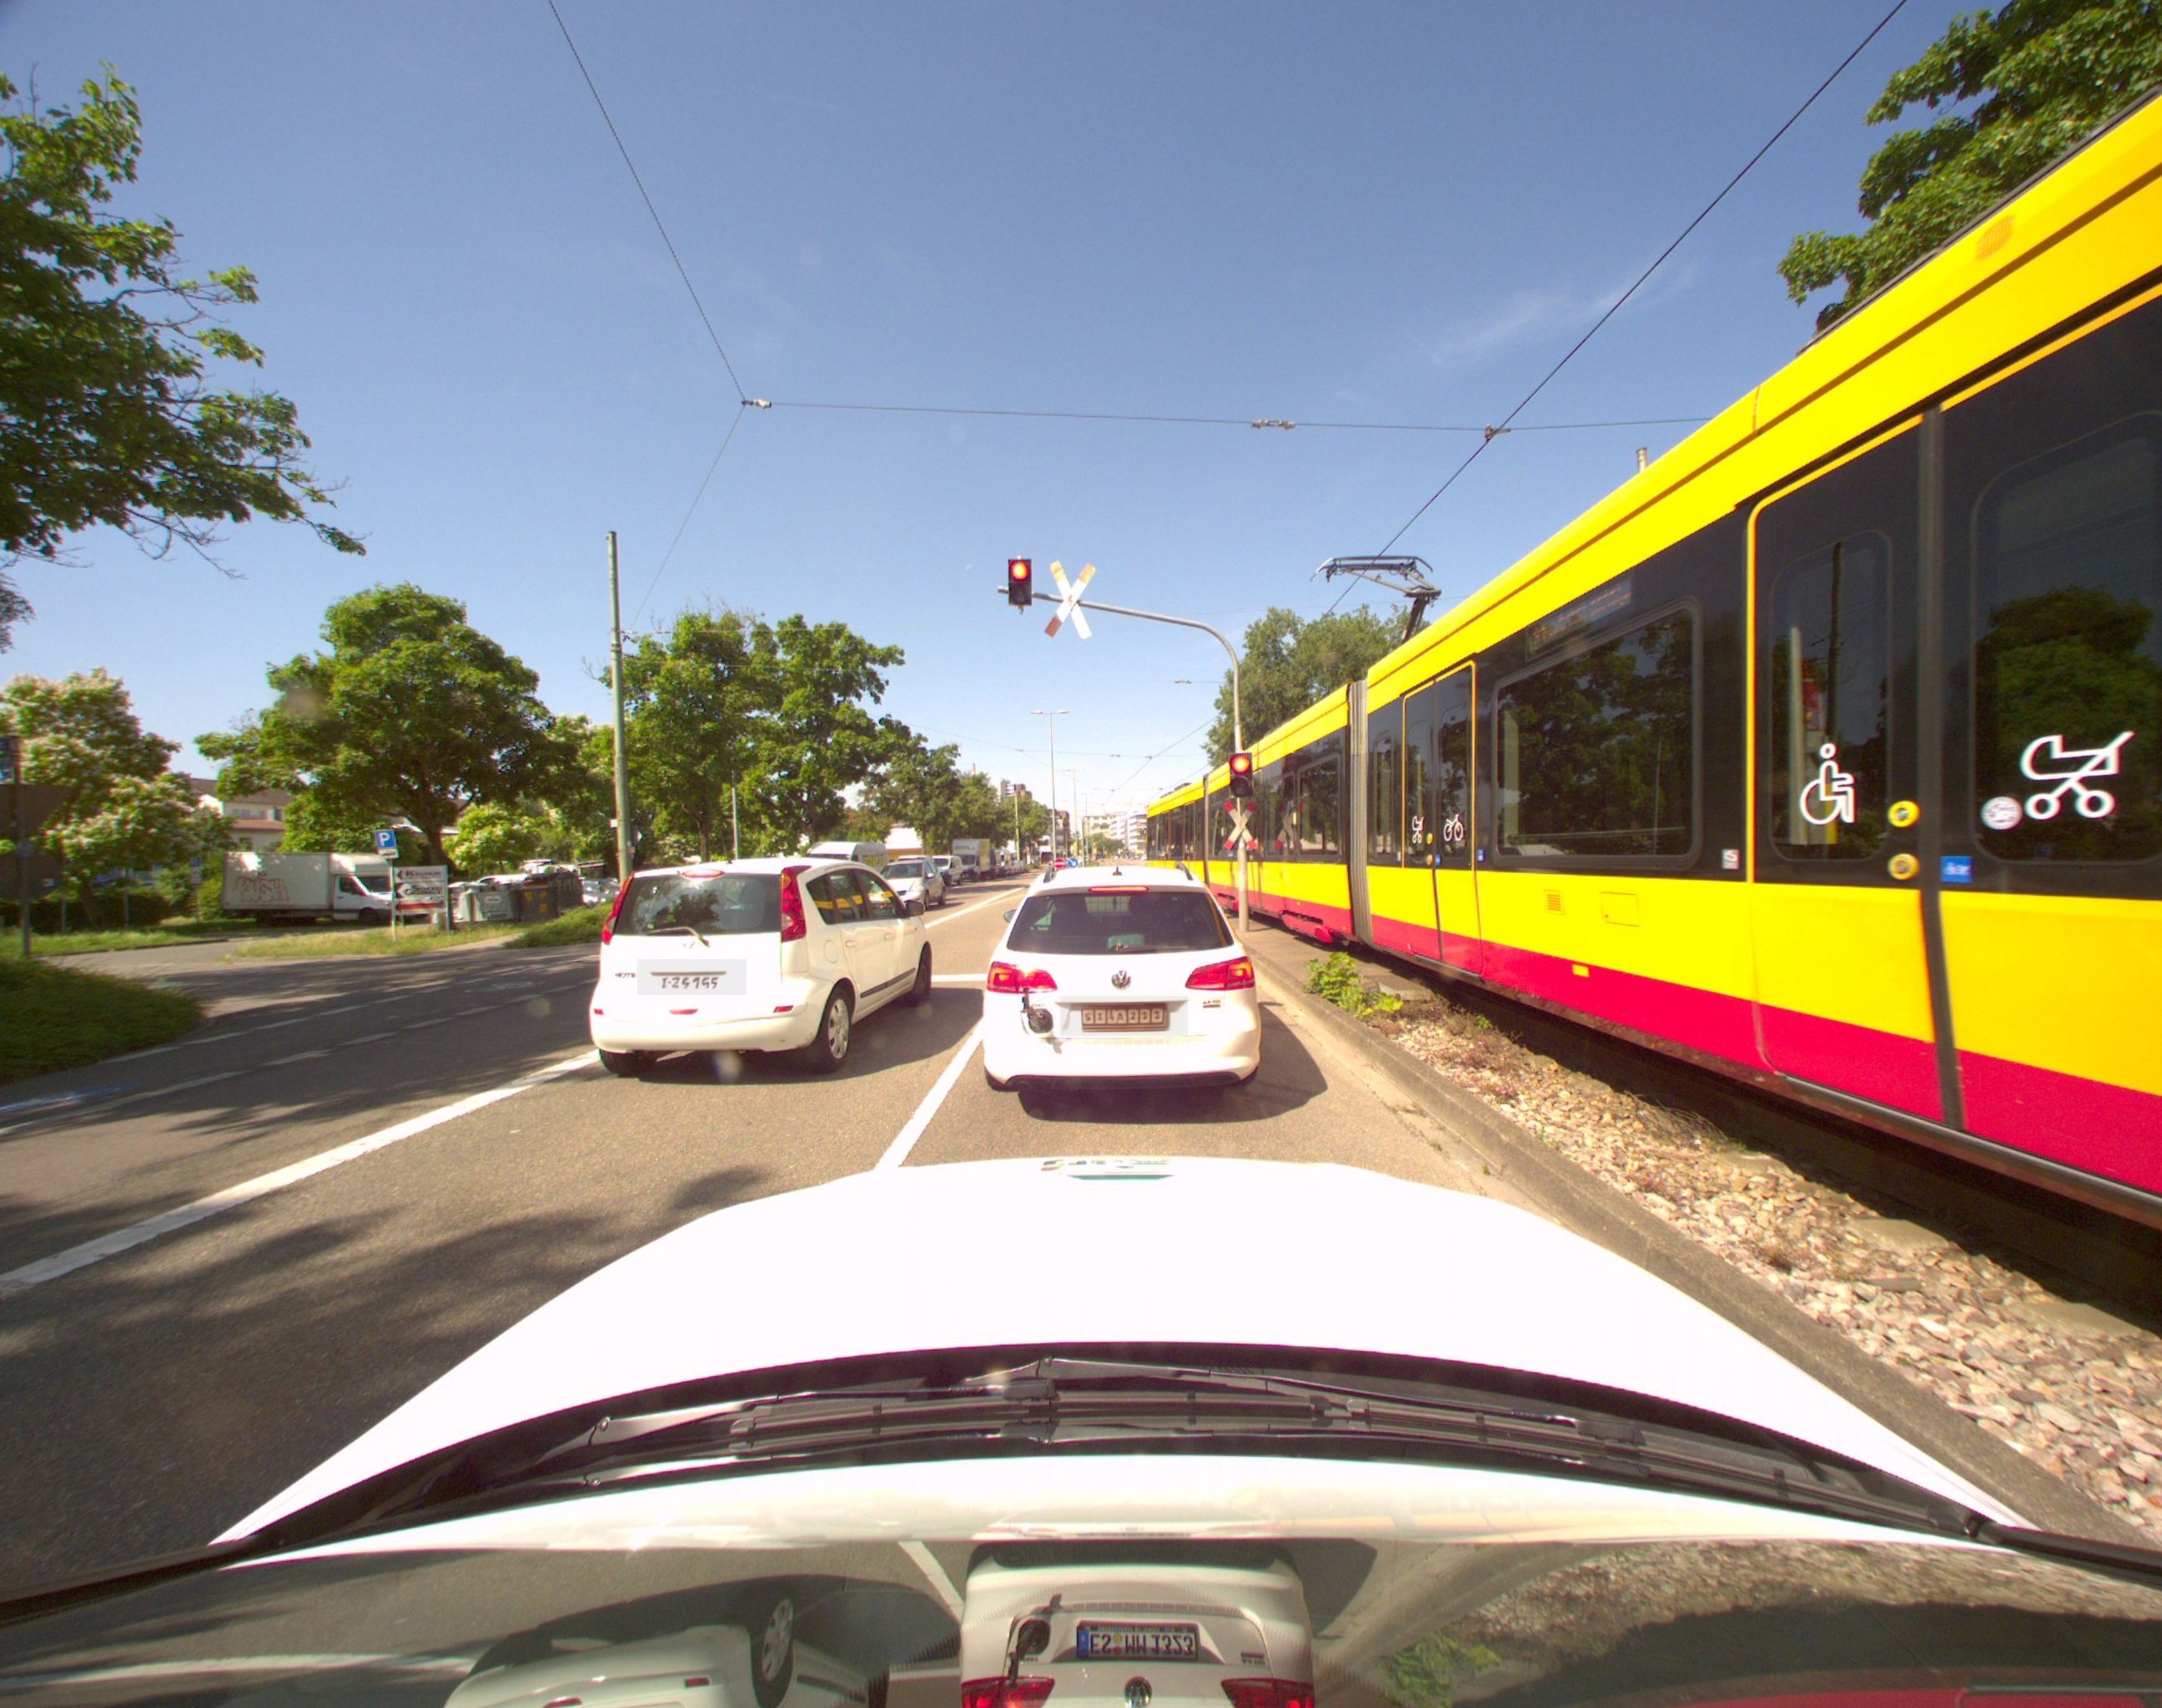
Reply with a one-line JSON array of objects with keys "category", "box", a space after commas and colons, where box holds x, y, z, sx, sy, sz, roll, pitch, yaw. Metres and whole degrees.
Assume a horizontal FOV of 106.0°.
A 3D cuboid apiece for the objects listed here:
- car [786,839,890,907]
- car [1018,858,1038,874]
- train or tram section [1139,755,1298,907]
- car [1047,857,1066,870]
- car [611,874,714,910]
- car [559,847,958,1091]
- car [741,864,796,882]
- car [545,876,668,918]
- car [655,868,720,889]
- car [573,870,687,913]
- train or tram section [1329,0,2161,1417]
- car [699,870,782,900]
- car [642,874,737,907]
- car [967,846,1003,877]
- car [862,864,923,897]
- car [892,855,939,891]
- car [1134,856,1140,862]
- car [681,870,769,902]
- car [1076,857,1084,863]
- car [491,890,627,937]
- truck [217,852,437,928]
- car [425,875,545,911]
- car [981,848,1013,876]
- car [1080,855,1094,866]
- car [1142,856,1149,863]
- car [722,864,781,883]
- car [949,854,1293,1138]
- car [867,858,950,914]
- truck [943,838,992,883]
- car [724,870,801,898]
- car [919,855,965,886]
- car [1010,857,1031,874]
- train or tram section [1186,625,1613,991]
[{"category": "car", "box": [-9.580, 0.696, 32.677, 2.114, 2.516, 5.822, 0, 0, 3]}, {"category": "car", "box": [-6.386, 1.382, 98.942, 1.856, 1.868, 5.415, 0, 0, 1]}, {"category": "train or tram section", "box": [3.981, -0.604, 26.514, 2.863, 3.855, 10.529, -3, 0, -2]}, {"category": "car", "box": [-2.852, 1.101, 95.558, 1.698, 1.473, 4.593, -3, 0, 3]}, {"category": "car", "box": [-20.294, 1.816, 39.607, 3.977, 1.415, 1.729, -4, -1, -3]}, {"category": "car", "box": [-2.439, 0.747, 7.540, 1.655, 1.547, 4.550, -1, 0, 3]}, {"category": "car", "box": [-31.769, 1.882, 82.783, 4.780, 1.787, 2.062, 0, -1, -3]}, {"category": "car", "box": [-19.667, 1.778, 33.864, 3.977, 1.415, 1.729, -4, -1, -3]}, {"category": "car", "box": [-35.194, 2.215, 72.978, 4.780, 1.787, 2.062, 0, -1, -3]}, {"category": "car", "box": [-19.916, 1.638, 36.071, 3.977, 1.610, 1.729, -4, -1, -3]}, {"category": "train or tram section", "box": [4.046, -0.597, 2.743, 2.860, 3.855, 12.396, -3, 0, 2]}, {"category": "car", "box": [-19.607, 1.780, 47.068, 3.977, 1.415, 1.729, -4, -1, -3]}, {"category": "car", "box": [-20.242, 1.877, 42.220, 3.977, 1.415, 1.729, -4, -1, -3]}, {"category": "car", "box": [-8.011, 0.635, 68.688, 2.114, 2.516, 5.737, 0, 0, 2]}, {"category": "car", "box": [-8.981, 1.233, 39.139, 1.856, 1.415, 4.281, 0, 0, 1]}, {"category": "car", "box": [-9.218, 1.004, 45.689, 1.859, 1.868, 5.068, 0, 0, -3]}, {"category": "car", "box": [17.753, 1.633, 258.614, 1.668, 1.863, 3.732, 0, -1, 2]}, {"category": "car", "box": [-19.539, 1.735, 44.796, 3.977, 1.415, 1.729, -4, -1, -3]}, {"category": "car", "box": [-0.214, 1.584, 212.404, 1.698, 1.473, 4.593, -3, 0, 3]}, {"category": "car", "box": [-19.898, 2.243, 31.171, 3.977, 1.415, 1.729, -4, -1, -3]}, {"category": "truck", "box": [-32.423, 1.516, 35.212, 6.978, 3.110, 2.677, 0, 0, 0]}, {"category": "car", "box": [-31.766, 2.059, 43.534, 4.780, 1.787, 2.062, 0, -1, -3]}, {"category": "car", "box": [-7.767, 0.697, 76.123, 2.114, 2.516, 5.737, 0, 0, 2]}, {"category": "car", "box": [0.812, 0.891, 112.887, 1.698, 1.473, 4.593, -3, 0, 3]}, {"category": "car", "box": [17.021, 1.441, 215.655, 1.602, 1.863, 3.732, 0, -1, 2]}, {"category": "car", "box": [-31.469, 1.839, 77.968, 4.780, 1.787, 2.062, 0, -1, -3]}, {"category": "car", "box": [0.273, 0.752, 6.313, 1.756, 1.430, 4.002, -3, 0, 2]}, {"category": "car", "box": [-5.386, 0.955, 25.847, 1.670, 1.553, 3.580, -4, 0, 1]}, {"category": "truck", "box": [-8.346, 0.429, 60.692, 2.411, 3.150, 7.001, 0, 0, 2]}, {"category": "car", "box": [-19.460, 1.834, 49.884, 3.977, 1.415, 1.729, -4, -1, -3]}, {"category": "car", "box": [-8.868, 1.026, 52.272, 1.856, 1.868, 5.415, 0, 0, 1]}, {"category": "car", "box": [-6.769, 1.294, 92.030, 1.856, 1.868, 5.415, 0, 0, 1]}, {"category": "train or tram section", "box": [4.262, -0.504, 15.044, 2.862, 3.855, 12.388, -3, 0, 0]}]
